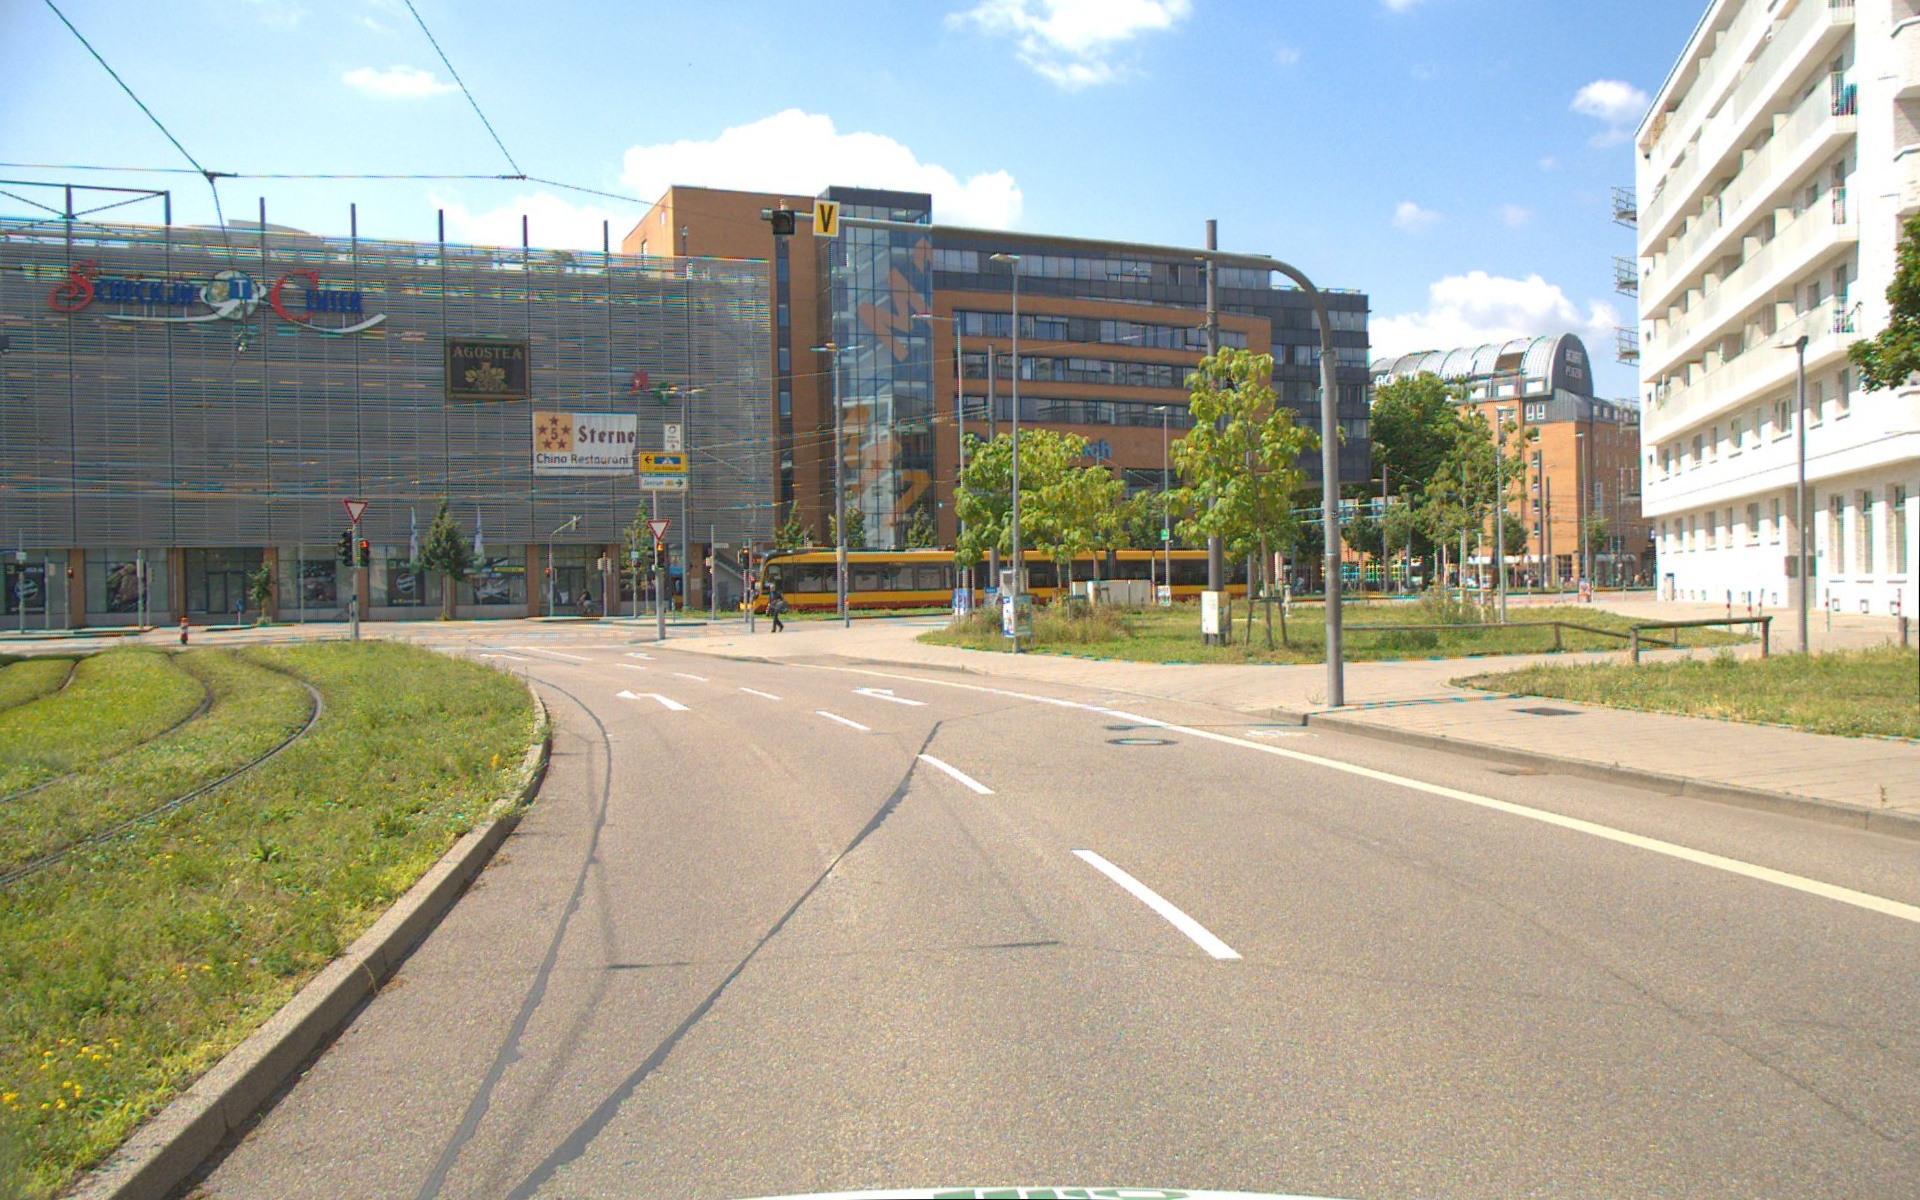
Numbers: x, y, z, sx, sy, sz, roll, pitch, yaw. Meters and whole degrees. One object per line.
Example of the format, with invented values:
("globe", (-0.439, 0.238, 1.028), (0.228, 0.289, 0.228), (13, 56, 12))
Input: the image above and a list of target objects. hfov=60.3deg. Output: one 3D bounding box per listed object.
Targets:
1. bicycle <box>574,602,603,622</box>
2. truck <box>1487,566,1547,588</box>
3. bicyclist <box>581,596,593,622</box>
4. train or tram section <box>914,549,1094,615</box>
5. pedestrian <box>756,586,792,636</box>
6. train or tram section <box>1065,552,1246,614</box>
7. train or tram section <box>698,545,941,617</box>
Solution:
("bicycle", (-23.641, 0.762, 105.114), (1.736, 1.245, 0.580), (0, 0, -23))
("truck", (53.613, -2.205, 159.302), (1.974, 2.122, 5.464), (0, 0, -31))
("bicyclist", (-23.711, 0.555, 105.079), (0.653, 1.652, 0.547), (0, 0, -22))
("train or tram section", (2.677, -1.007, 96.398), (10.863, 3.666, 3.028), (0, 0, -35))
("pedestrian", (-6.651, 0.404, 59.174), (0.901, 1.732, 0.805), (-2, 0, 39))
("train or tram section", (12.317, -1.037, 103.227), (12.488, 3.684, 3.028), (0, 0, -35))
("train or tram section", (-7.421, -1.008, 89.342), (13.338, 3.662, 3.188), (0, 0, -34))
